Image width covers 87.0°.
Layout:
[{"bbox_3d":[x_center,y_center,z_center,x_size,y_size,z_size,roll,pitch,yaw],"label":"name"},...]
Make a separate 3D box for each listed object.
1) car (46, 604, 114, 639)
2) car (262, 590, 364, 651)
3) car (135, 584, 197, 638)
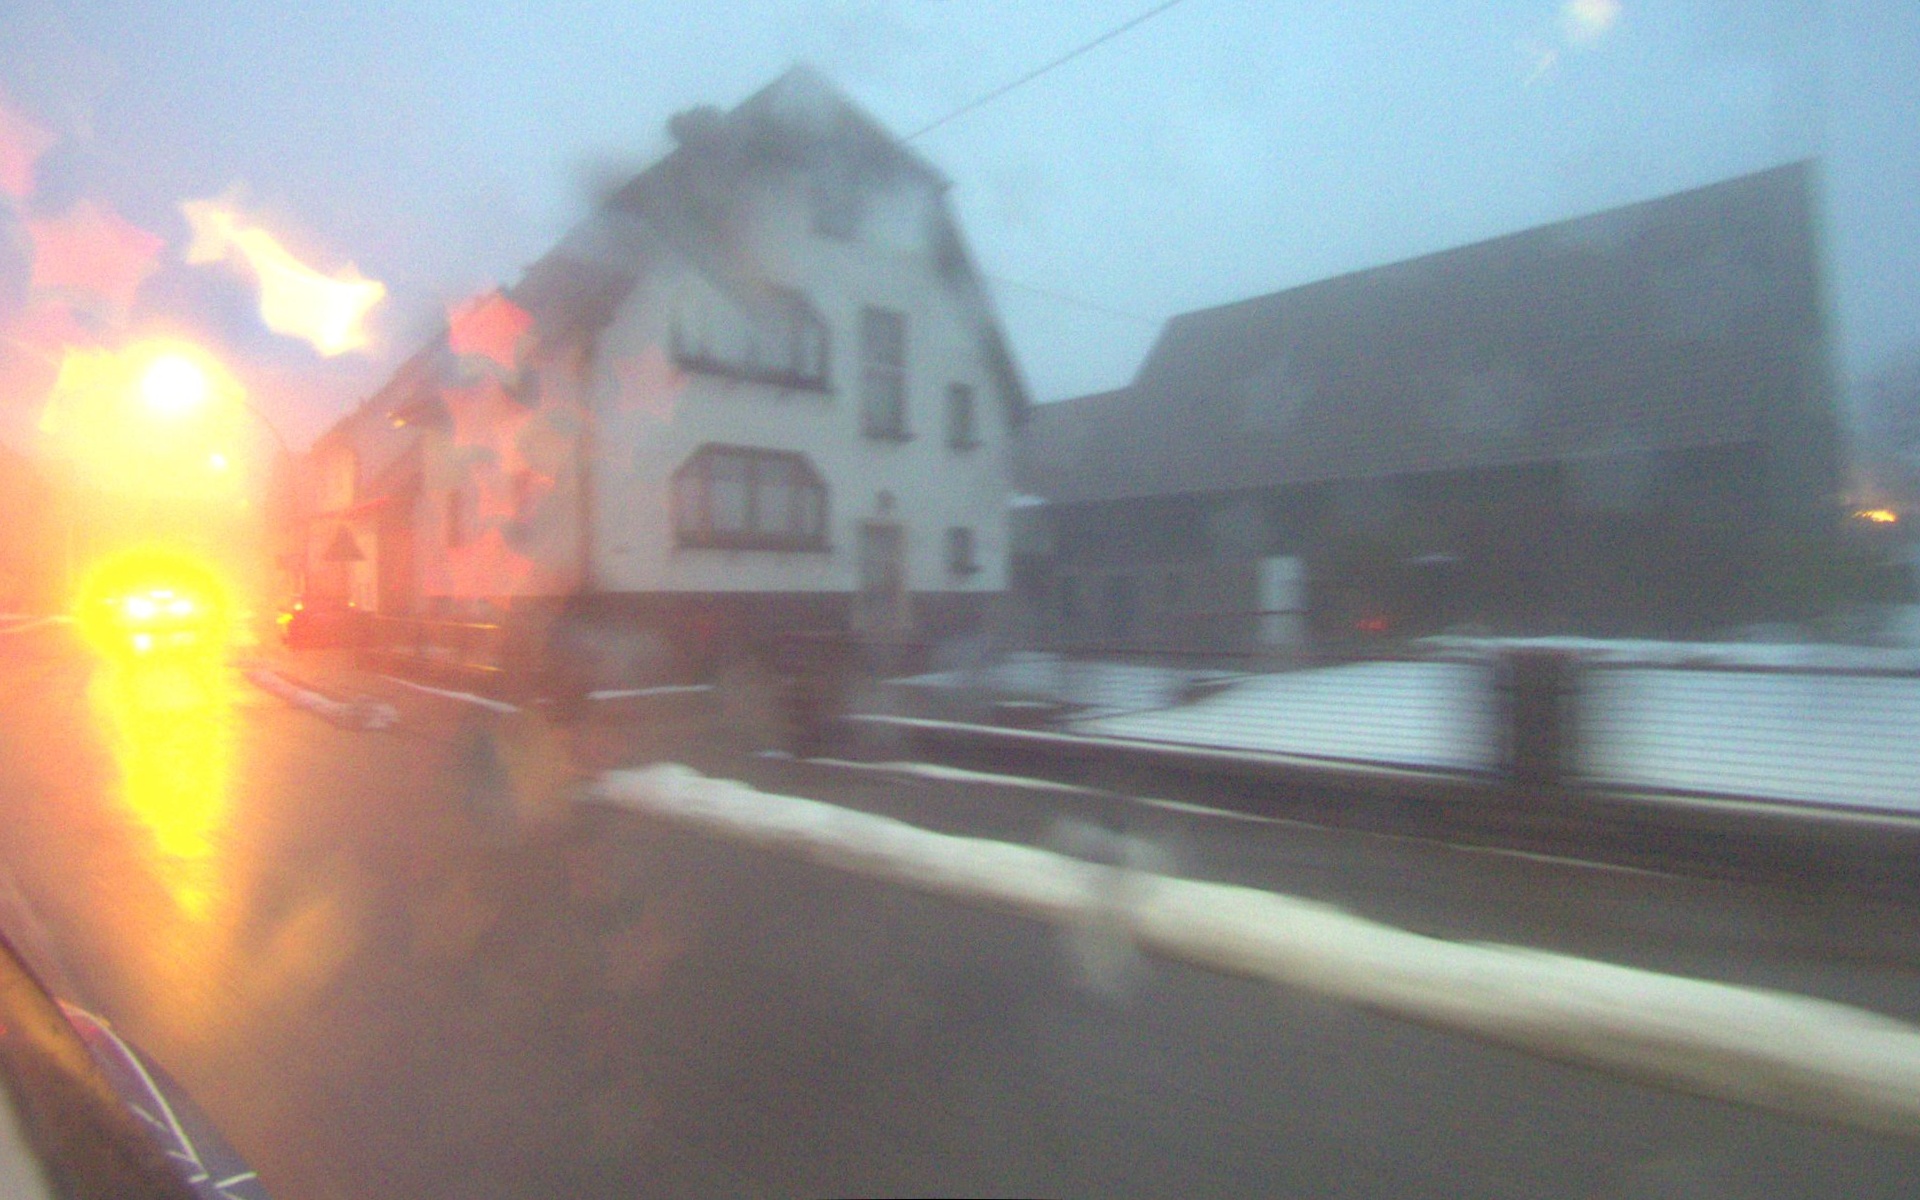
[{"bbox_3d":[-43.233,1.023,49.793,1.884,1.492,4.294,-1,2,-33],"label":"car"},{"bbox_3d":[-18.637,0.546,29.084,1.968,1.534,4.198,-4,2,-39],"label":"car"},{"bbox_3d":[-31.228,0.373,39.863,1.817,1.699,4.489,-1,5,-37],"label":"car"}]
